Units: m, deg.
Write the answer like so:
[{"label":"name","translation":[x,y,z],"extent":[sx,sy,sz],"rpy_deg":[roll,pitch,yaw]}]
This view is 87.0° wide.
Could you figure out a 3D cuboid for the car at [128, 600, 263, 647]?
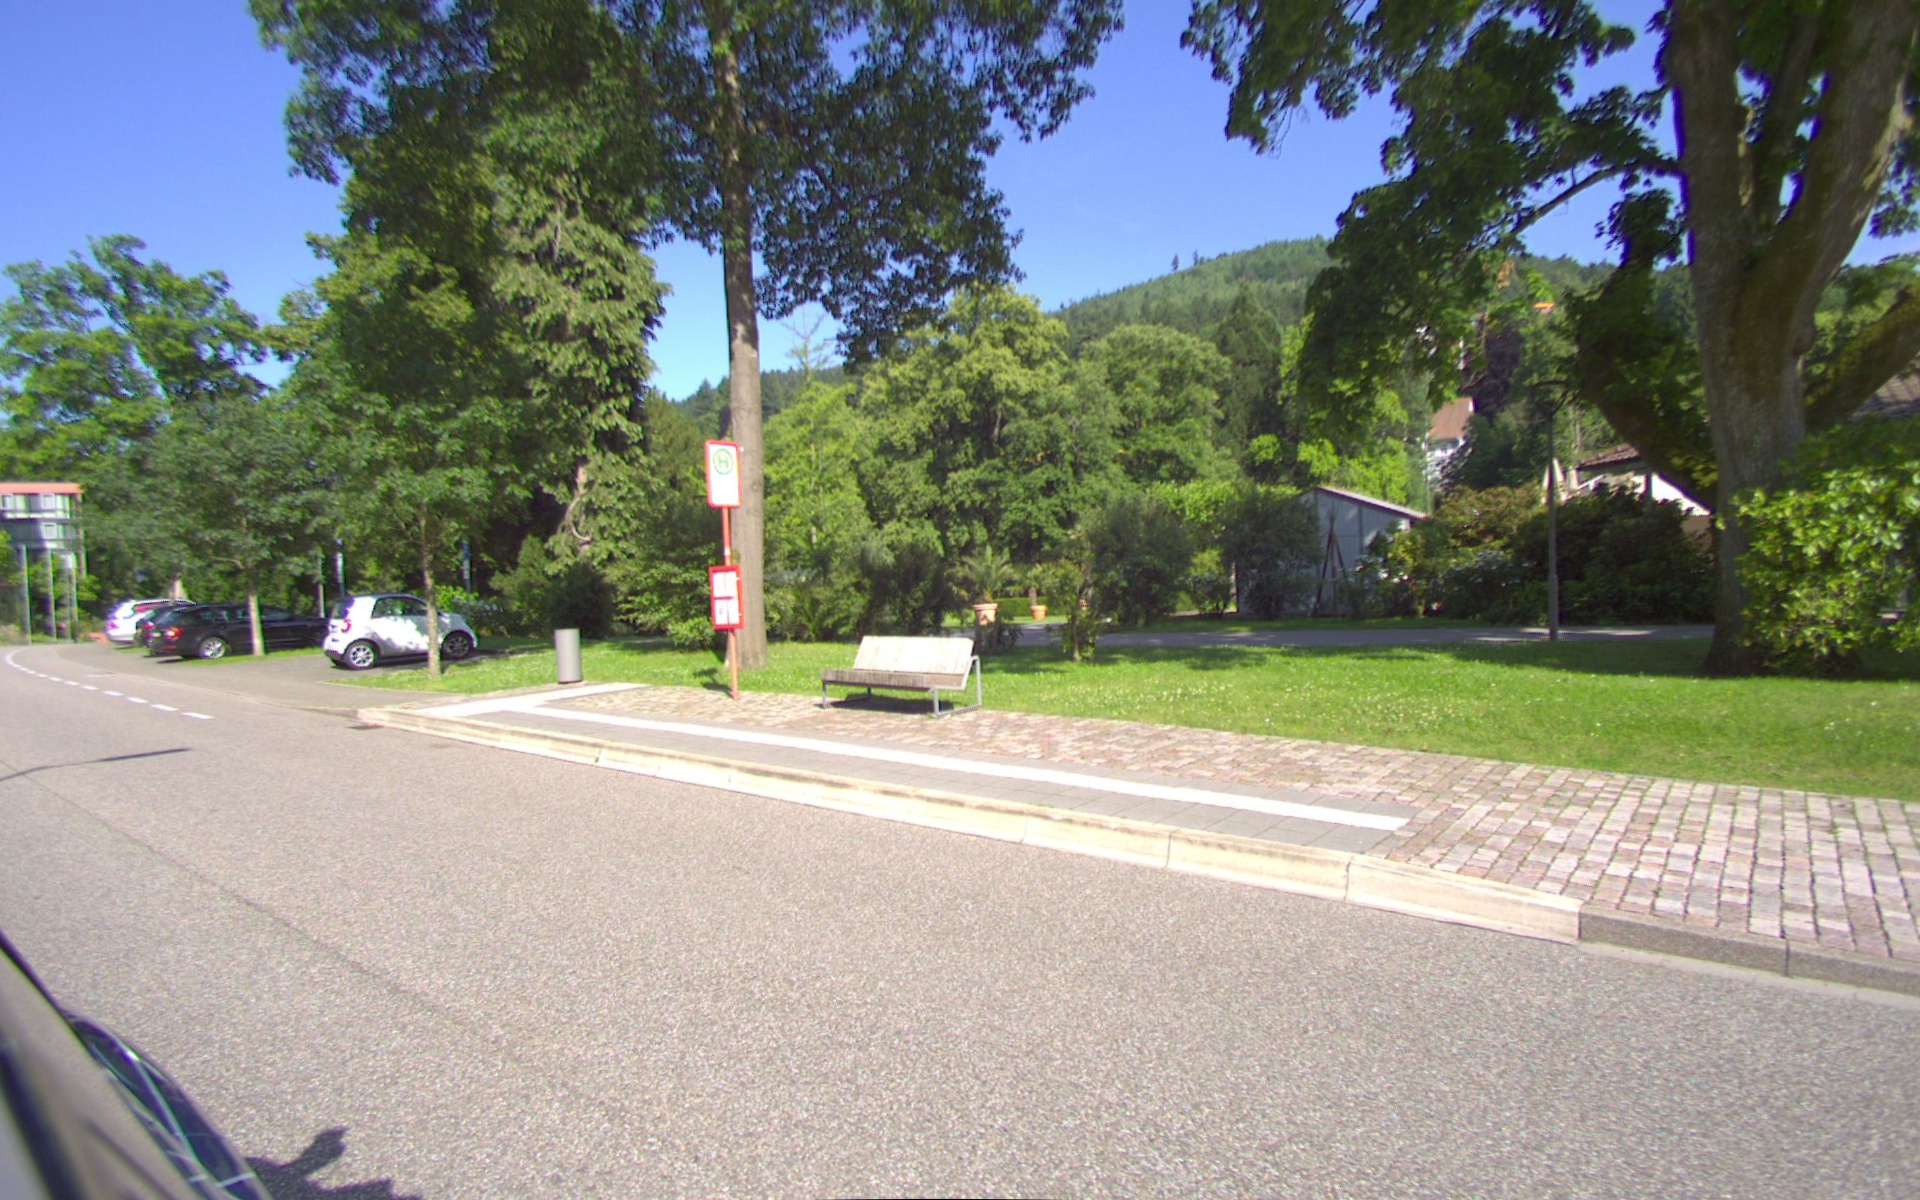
[{"label":"car","translation":[-29.522,0.848,39.134],"extent":[3.940,1.443,1.722],"rpy_deg":[-6,4,-43]}]

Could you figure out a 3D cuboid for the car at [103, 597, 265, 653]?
[{"label":"car","translation":[-27.857,0.839,36.466],"extent":[4.427,1.427,1.814],"rpy_deg":[-8,5,-38]}]

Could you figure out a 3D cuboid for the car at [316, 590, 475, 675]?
[{"label":"car","translation":[-12.230,0.645,21.964],"extent":[2.620,1.558,1.684],"rpy_deg":[-6,4,-43]}]

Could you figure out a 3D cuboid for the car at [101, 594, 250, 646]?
[{"label":"car","translation":[-31.529,0.748,40.760],"extent":[1.810,1.675,4.434],"rpy_deg":[0,4,43]}]

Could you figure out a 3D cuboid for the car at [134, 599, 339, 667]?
[{"label":"car","translation":[-19.917,0.851,28.057],"extent":[1.709,1.442,4.240],"rpy_deg":[-1,3,35]}]

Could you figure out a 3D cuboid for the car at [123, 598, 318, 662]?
[{"label":"car","translation":[-22.358,0.852,30.735],"extent":[1.712,1.521,4.449],"rpy_deg":[-1,3,40]}]
